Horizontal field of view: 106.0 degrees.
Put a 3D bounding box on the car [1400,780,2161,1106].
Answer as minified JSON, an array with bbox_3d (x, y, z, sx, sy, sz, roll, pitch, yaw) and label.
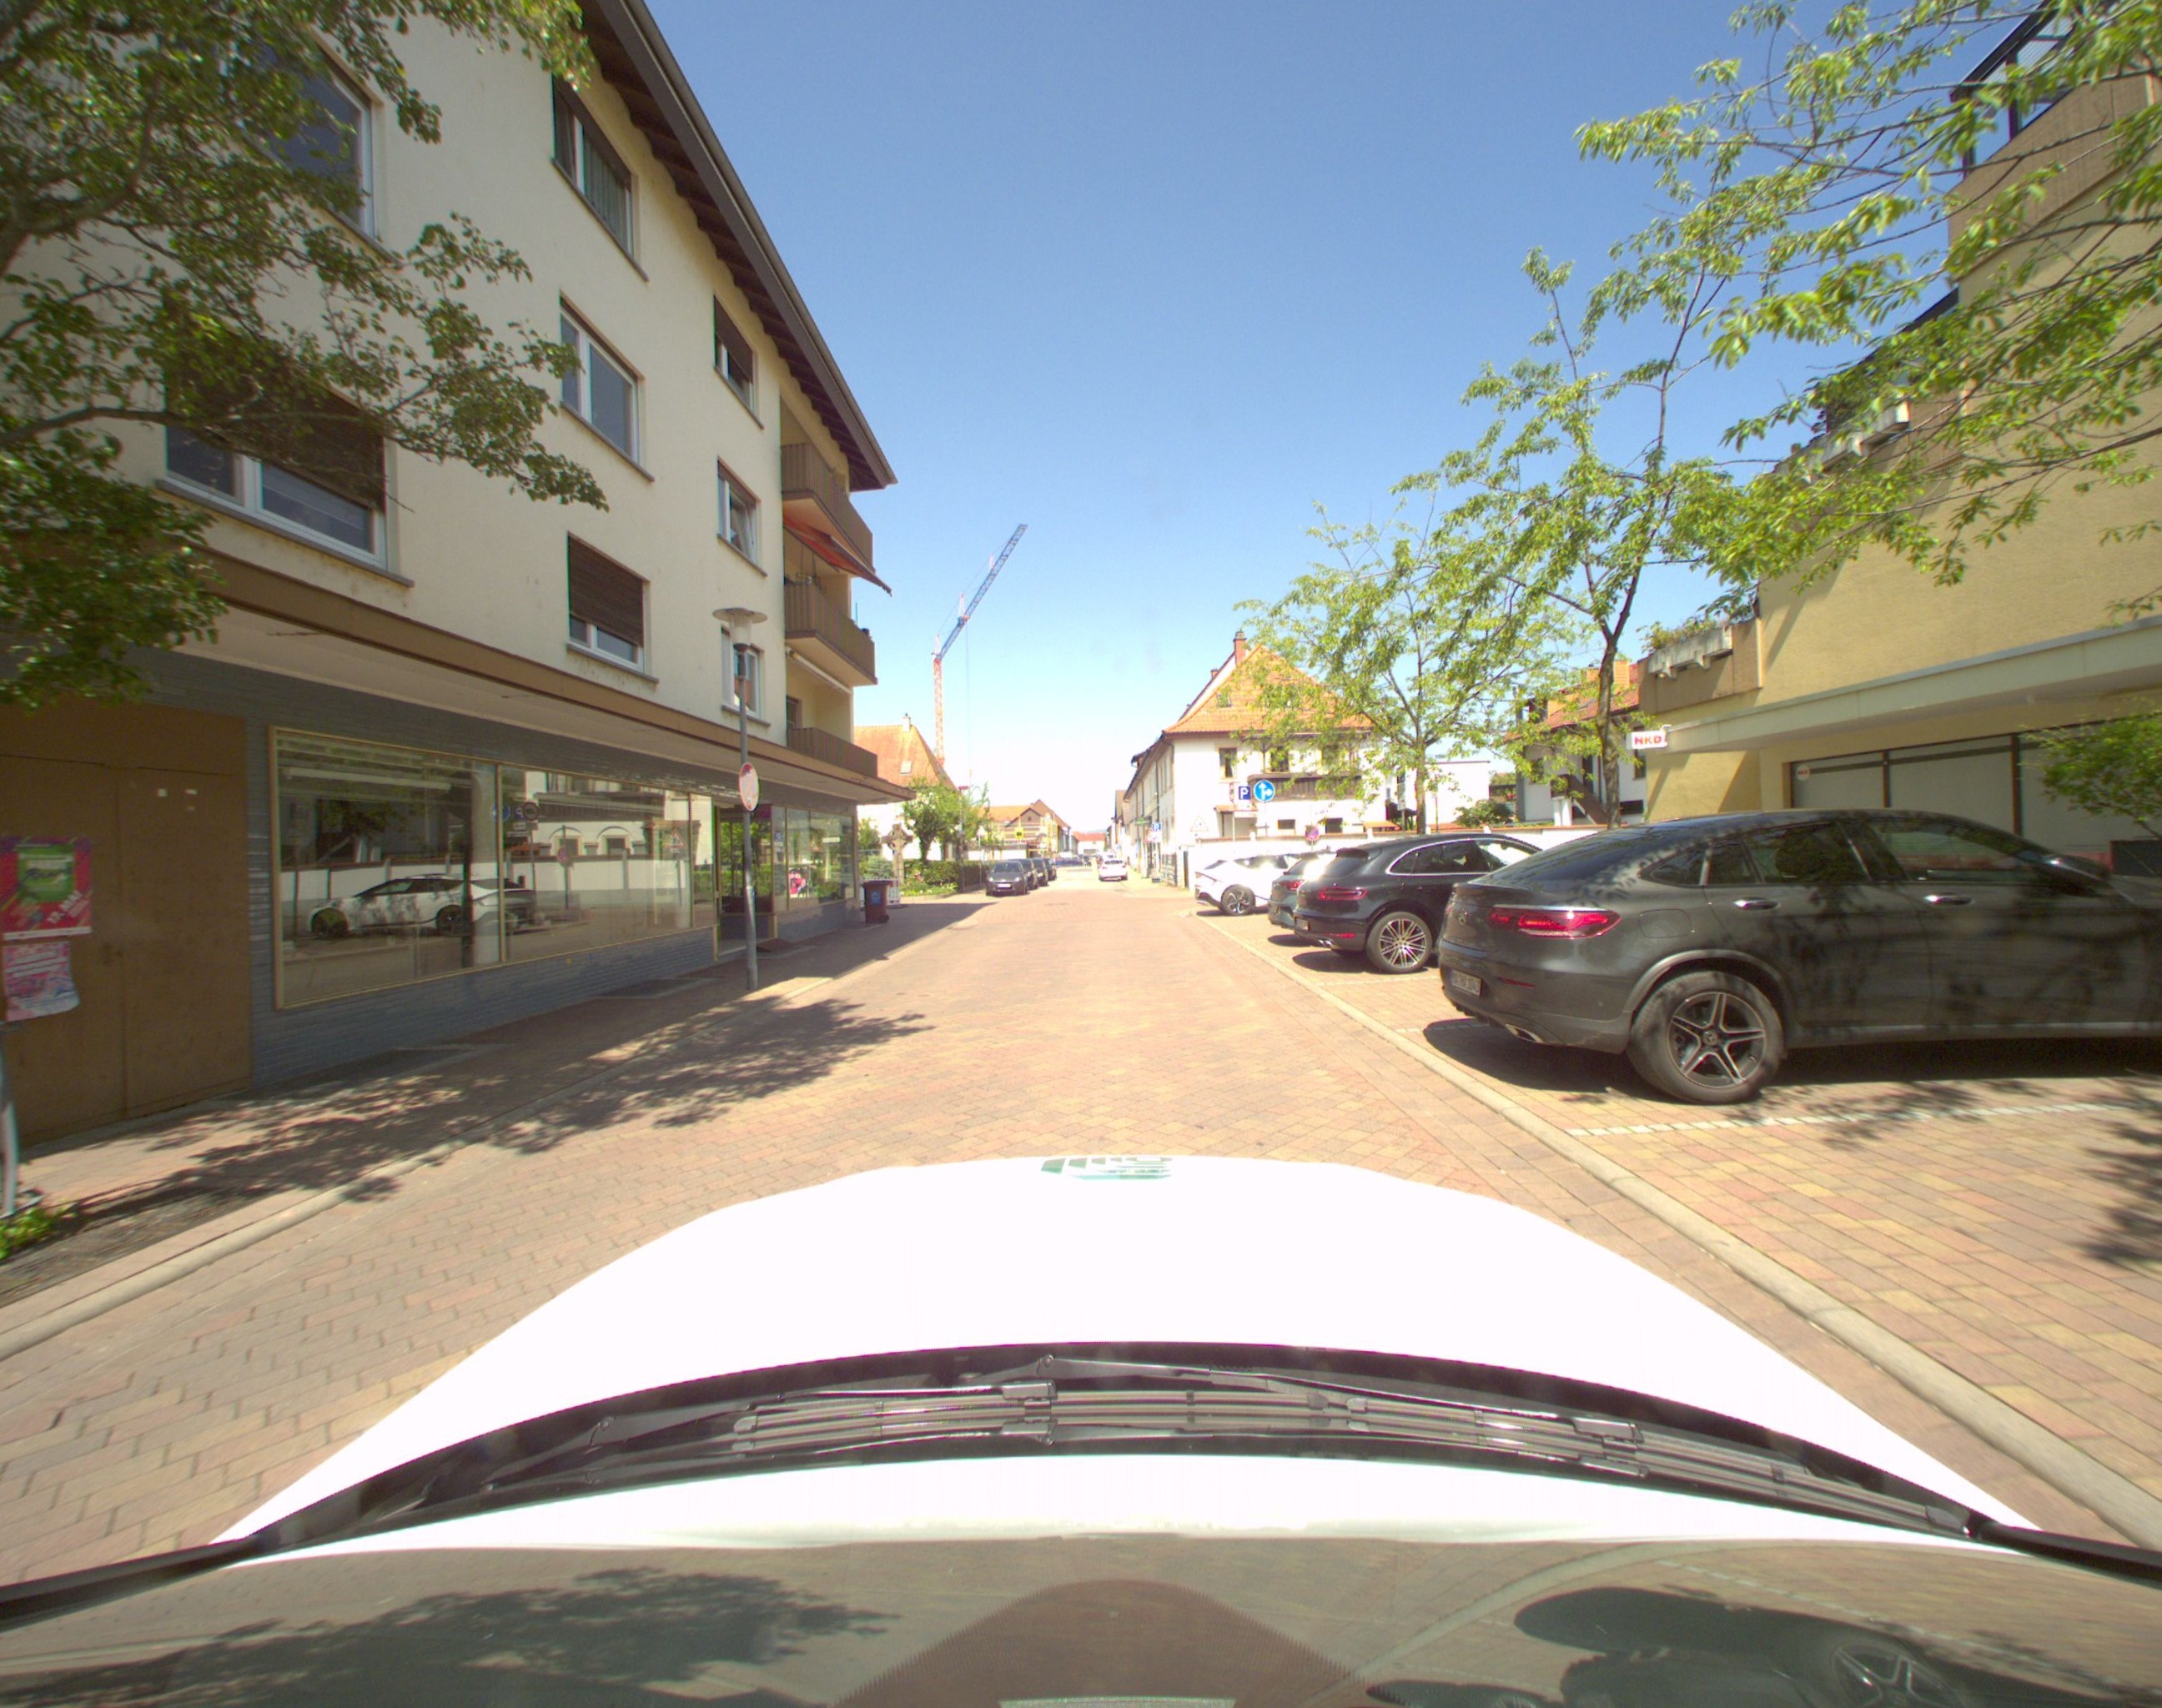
[{"bbox_3d":[4.680,0.465,5.254,4.488,1.588,1.852,-3,0,4],"label":"car"}]

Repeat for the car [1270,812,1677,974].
[{"bbox_3d":[4.864,0.451,10.570,4.267,1.681,1.999,-3,0,-2],"label":"car"}]

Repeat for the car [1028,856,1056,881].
[{"bbox_3d":[-2.752,1.029,58.495,1.821,1.630,4.215,-2,0,-1],"label":"car"}]

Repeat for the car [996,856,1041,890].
[{"bbox_3d":[-3.163,0.931,42.040,1.808,1.605,4.027,-2,0,2],"label":"car"}]

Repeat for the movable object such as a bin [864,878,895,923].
[{"bbox_3d":[-5.080,1.166,20.541,0.654,1.070,0.663,-1,0,-5],"label":"movable object such as a bin"}]

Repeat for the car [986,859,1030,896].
[{"bbox_3d":[-3.187,1.013,36.214,1.698,1.496,3.853,-2,0,-2],"label":"car"}]

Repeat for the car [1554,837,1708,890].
[{"bbox_3d":[16.785,0.273,24.975,3.601,1.452,1.655,-2,1,1],"label":"car"}]

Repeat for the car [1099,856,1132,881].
[{"bbox_3d":[2.364,0.922,54.513,1.877,1.542,4.251,-2,0,7],"label":"car"}]

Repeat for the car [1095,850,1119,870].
[{"bbox_3d":[2.360,0.517,74.629,1.880,1.556,3.891,-5,0,-2],"label":"car"}]

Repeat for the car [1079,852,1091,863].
[{"bbox_3d":[0.657,0.593,127.931,1.875,1.668,4.153,-2,0,0],"label":"car"}]

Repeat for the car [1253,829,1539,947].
[{"bbox_3d":[5.006,0.524,13.367,3.931,1.534,1.824,-4,0,0],"label":"car"}]

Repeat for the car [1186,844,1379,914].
[{"bbox_3d":[5.003,0.607,20.603,4.428,1.576,1.788,-2,0,-2],"label":"car"}]

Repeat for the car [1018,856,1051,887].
[{"bbox_3d":[-2.713,0.997,47.711,1.632,1.628,3.768,-2,0,0],"label":"car"}]
